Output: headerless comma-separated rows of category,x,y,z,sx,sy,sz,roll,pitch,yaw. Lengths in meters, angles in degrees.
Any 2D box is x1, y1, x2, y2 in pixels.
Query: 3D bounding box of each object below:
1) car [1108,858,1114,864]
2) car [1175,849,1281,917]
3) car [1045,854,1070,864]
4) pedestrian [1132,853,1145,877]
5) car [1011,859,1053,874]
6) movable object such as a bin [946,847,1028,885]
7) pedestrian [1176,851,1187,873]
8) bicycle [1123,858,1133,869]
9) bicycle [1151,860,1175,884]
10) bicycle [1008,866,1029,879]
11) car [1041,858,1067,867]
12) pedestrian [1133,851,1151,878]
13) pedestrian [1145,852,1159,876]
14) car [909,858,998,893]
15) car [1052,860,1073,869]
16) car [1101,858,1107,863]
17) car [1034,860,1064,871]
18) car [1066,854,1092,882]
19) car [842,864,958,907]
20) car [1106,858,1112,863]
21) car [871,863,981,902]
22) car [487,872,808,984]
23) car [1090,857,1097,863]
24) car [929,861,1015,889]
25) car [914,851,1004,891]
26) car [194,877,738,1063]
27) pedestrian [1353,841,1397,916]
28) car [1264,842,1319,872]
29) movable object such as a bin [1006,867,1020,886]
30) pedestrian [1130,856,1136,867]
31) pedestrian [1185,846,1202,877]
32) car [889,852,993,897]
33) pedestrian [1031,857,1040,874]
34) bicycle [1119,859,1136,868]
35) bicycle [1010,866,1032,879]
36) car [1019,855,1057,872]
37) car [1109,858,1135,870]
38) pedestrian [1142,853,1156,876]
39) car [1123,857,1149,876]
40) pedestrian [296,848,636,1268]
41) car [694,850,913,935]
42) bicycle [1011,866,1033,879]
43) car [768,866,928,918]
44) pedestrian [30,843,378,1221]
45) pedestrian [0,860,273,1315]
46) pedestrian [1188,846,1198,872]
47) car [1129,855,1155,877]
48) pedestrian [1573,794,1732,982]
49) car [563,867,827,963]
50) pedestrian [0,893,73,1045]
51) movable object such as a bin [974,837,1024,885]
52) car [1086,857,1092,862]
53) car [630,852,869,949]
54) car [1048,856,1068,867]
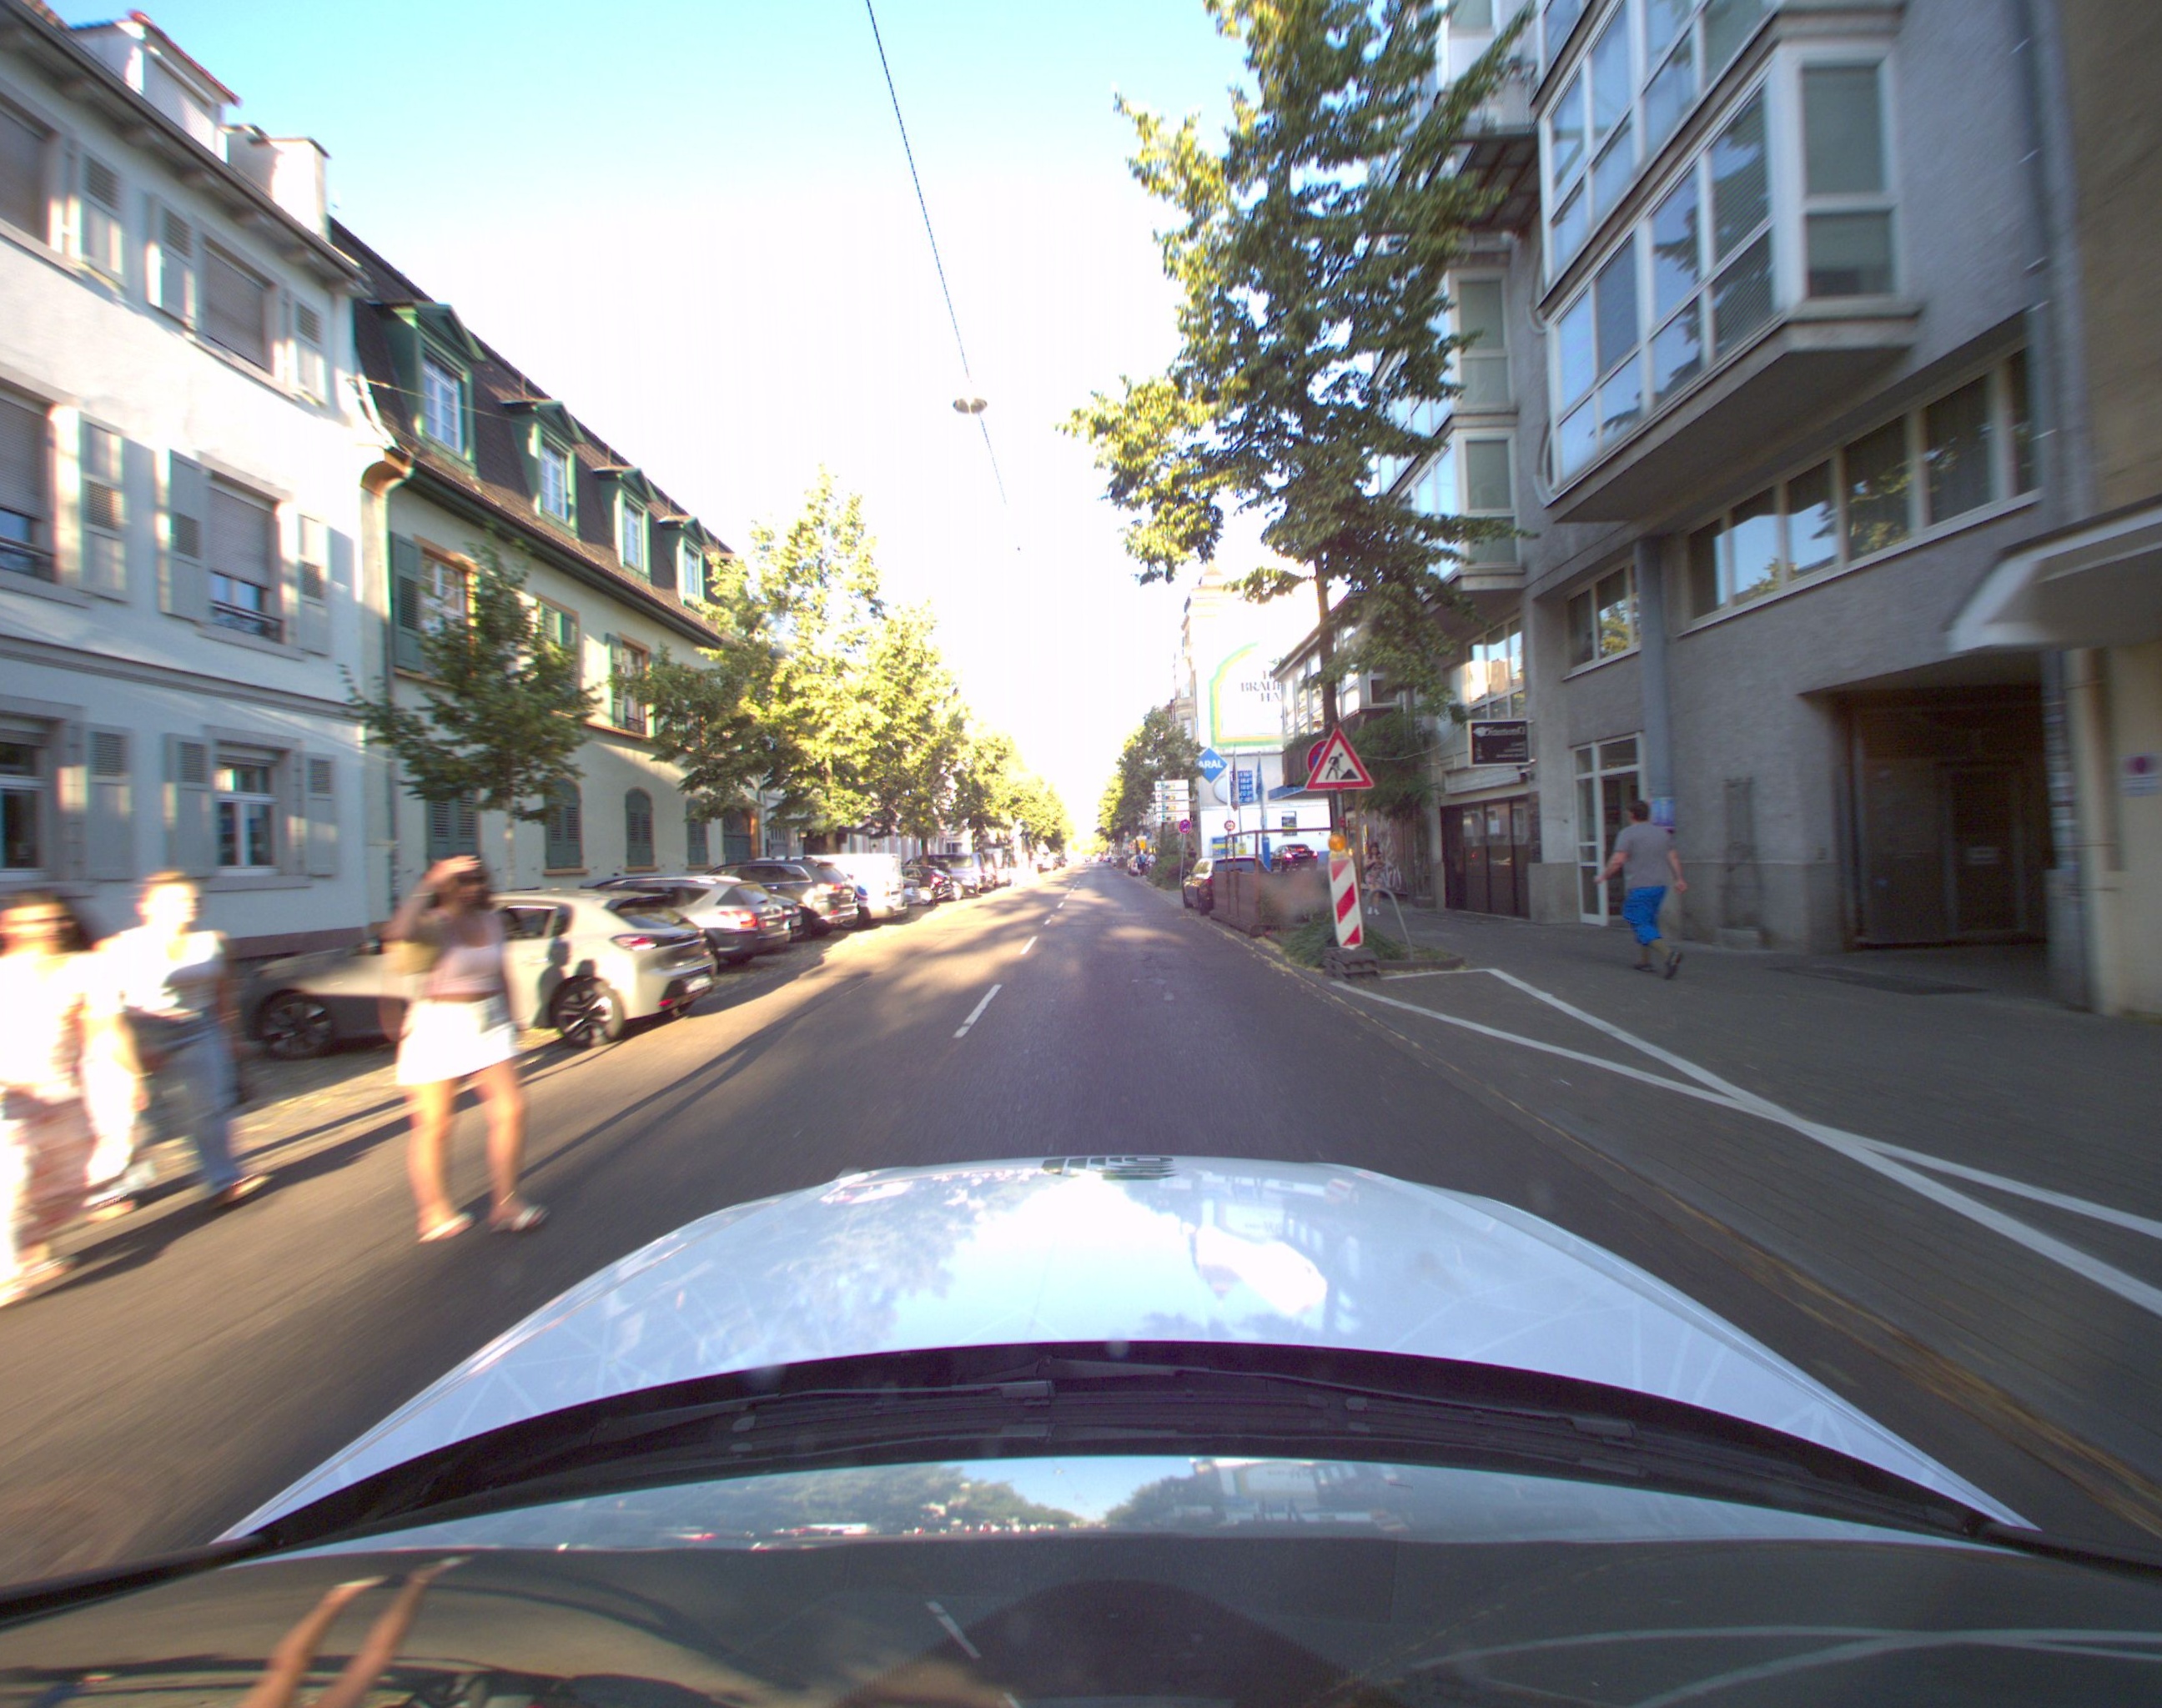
car,7.345,1.707,199.132,1.507,1.276,3.305,-1,-1,2
car,3.794,0.698,21.871,1.823,1.488,4.847,-4,0,-1
car,-4.323,0.939,149.444,4.426,1.759,1.919,-1,-1,1
pedestrian,4.238,0.802,60.135,0.677,1.754,0.822,-2,-1,-9
car,-5.435,1.402,90.779,4.532,1.541,1.811,-1,-1,-1
movable object such as a bin,-6.772,0.842,59.194,2.284,2.495,5.789,-2,-1,44
pedestrian,7.459,0.613,60.566,0.656,1.562,0.701,-4,0,1
bicycle,5.598,1.131,96.367,0.593,1.178,1.856,-2,0,20
bicycle,4.193,0.918,41.640,0.478,1.143,1.691,-5,-1,31
bicycle,-4.969,1.469,64.731,1.677,1.079,0.444,1,-2,0
car,-4.771,1.523,142.936,4.426,1.523,1.919,-1,-1,1
pedestrian,4.303,0.710,57.301,1.013,1.825,0.778,-4,-1,-9
pedestrian,5.195,0.713,59.750,0.657,1.700,0.660,-4,-1,-43
car,-6.354,1.080,41.029,4.114,1.637,1.861,-1,0,1
car,-3.965,2.253,176.699,4.426,1.959,1.919,-1,-1,1
car,7.139,1.941,251.111,1.746,1.540,3.305,-2,-1,2
car,-4.916,1.728,125.533,4.426,1.568,1.919,-1,-1,1
car,-0.126,0.989,59.842,1.702,1.823,4.014,-4,0,1
car,-6.869,1.196,31.202,3.906,1.501,1.907,-1,0,3
car,7.443,1.703,217.263,1.507,1.263,3.305,-1,-1,2
car,-6.418,1.170,34.206,4.318,1.501,1.839,-1,0,-5
car,-6.764,1.116,13.073,4.024,1.484,1.963,-2,0,0
car,3.493,1.646,229.980,1.746,1.540,3.305,-2,-1,2
car,-6.238,1.214,46.795,4.574,1.470,1.894,-1,0,3
car,-6.474,0.894,43.602,4.471,1.976,1.964,-1,0,-2
car,-5.847,1.054,8.140,4.047,1.461,1.684,-2,0,-2
pedestrian,6.256,0.506,17.354,0.608,1.525,0.773,-3,0,1
car,11.259,0.195,43.841,1.728,1.431,4.909,-3,-1,1
movable object such as a bin,-4.064,1.356,48.797,0.687,1.105,0.884,-3,0,3
pedestrian,6.512,0.963,102.667,0.724,1.378,0.781,-2,0,1
pedestrian,7.091,0.474,51.449,0.820,1.854,1.097,-4,0,-1
car,-6.532,0.935,38.334,4.467,1.976,2.069,-1,0,1
pedestrian,-4.671,1.148,83.595,0.706,1.686,0.836,-2,0,10
bicycle,5.422,1.107,94.908,1.935,1.074,0.710,-2,-1,32
bicycle,-4.799,1.488,65.321,1.673,1.079,0.445,0,-2,8
car,-5.271,1.186,101.114,4.556,1.962,1.991,-1,-1,0
car,6.036,1.443,119.566,1.654,1.588,3.846,-2,-1,44
pedestrian,5.049,0.782,60.360,0.678,1.706,0.821,-4,-1,-14
car,4.532,0.981,67.643,1.779,1.375,4.524,-4,0,1
pedestrian,-2.681,0.813,3.661,0.824,1.638,0.828,-3,-1,2
car,-7.013,0.950,20.963,4.853,1.908,1.974,-2,0,0
bicycle,-4.801,1.506,65.913,1.673,1.079,0.445,0,-2,8
car,-7.230,1.166,25.534,4.459,1.485,1.735,-1,0,2
pedestrian,-4.534,0.853,4.283,0.918,1.759,0.762,-3,-1,1
pedestrian,-4.294,0.894,3.449,0.918,1.695,0.762,-3,-1,1
pedestrian,8.402,0.371,61.162,0.461,1.875,0.499,-2,0,-14
car,4.721,0.895,63.159,1.681,1.575,4.014,-4,0,1
pedestrian,5.914,0.331,8.490,0.854,1.794,0.996,-3,0,-3
car,-7.228,1.107,15.543,4.020,1.555,1.966,-2,0,3
pedestrian,-11.410,1.195,8.525,0.694,1.521,0.796,-1,0,0
movable object such as a bin,-5.457,0.477,54.995,2.616,2.969,5.304,-2,0,1
car,2.470,1.739,247.375,1.746,1.540,3.305,-2,-1,2
car,-7.172,0.974,17.958,4.412,1.870,1.894,-2,0,1
car,-5.288,1.752,186.899,4.426,2.435,1.919,-1,-1,1
